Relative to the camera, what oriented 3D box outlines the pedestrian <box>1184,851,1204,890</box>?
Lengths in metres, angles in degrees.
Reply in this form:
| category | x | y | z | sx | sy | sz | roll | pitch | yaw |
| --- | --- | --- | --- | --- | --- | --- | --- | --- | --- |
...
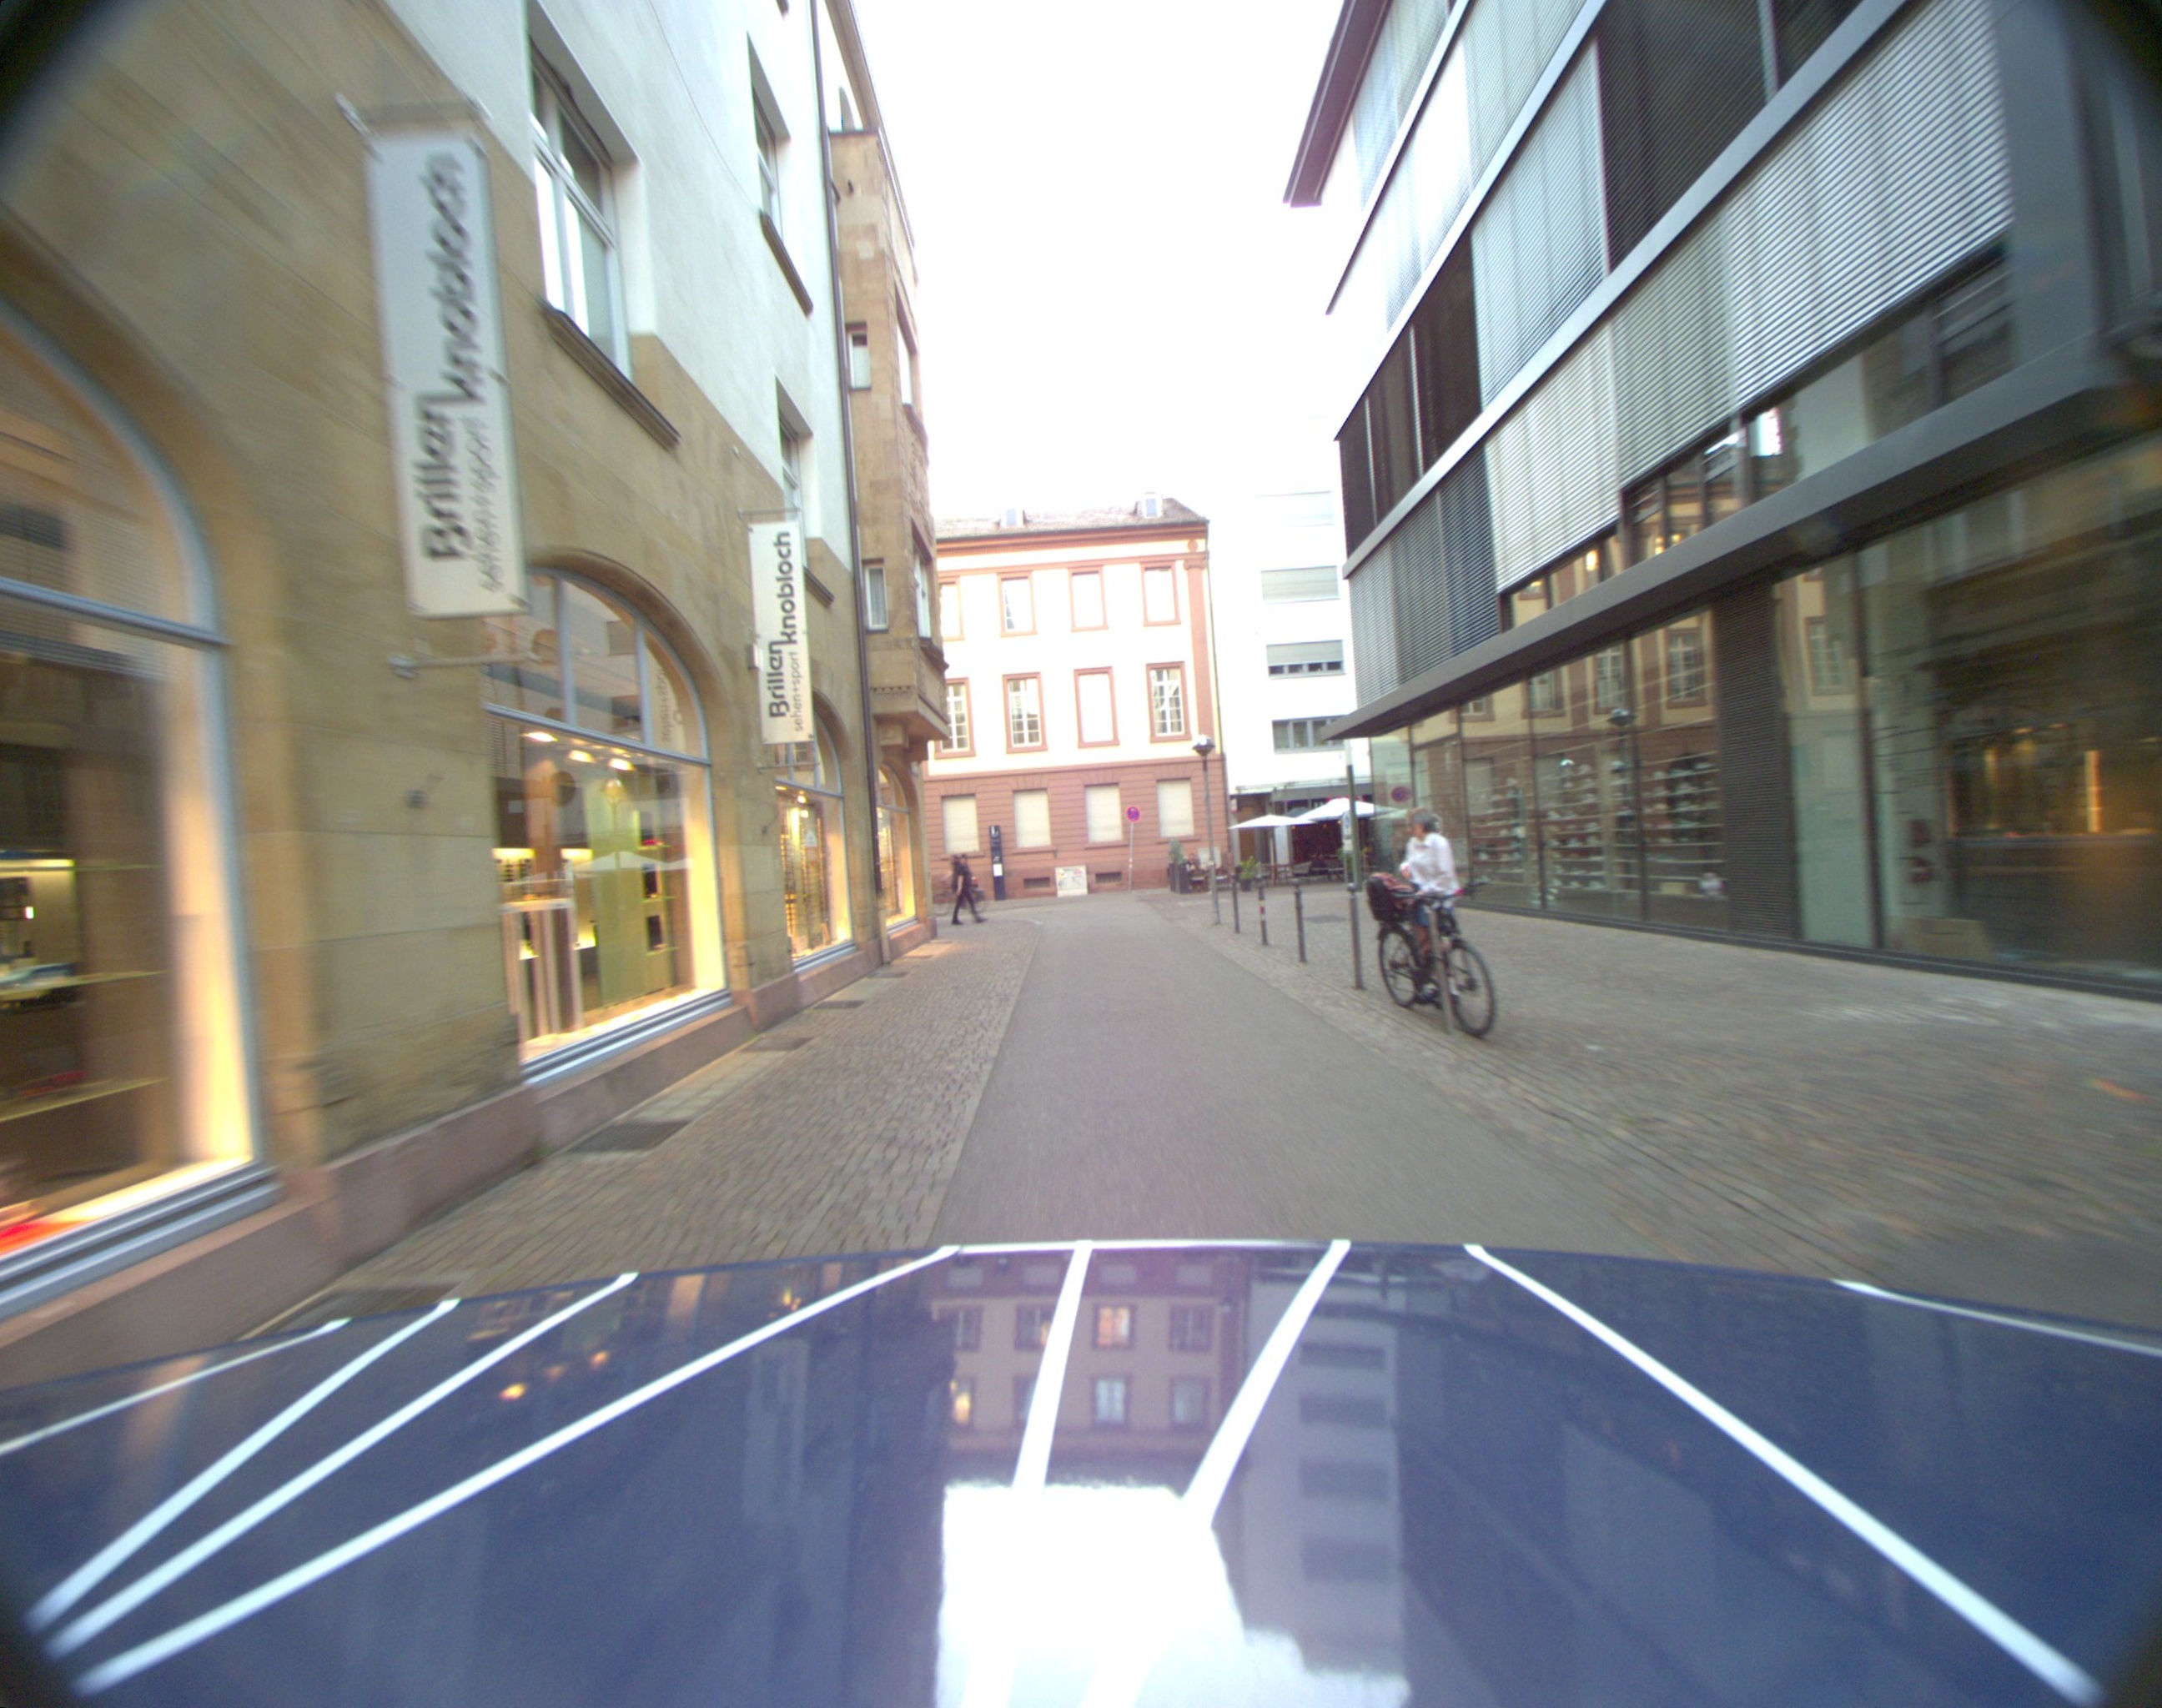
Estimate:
| category | x | y | z | sx | sy | sz | roll | pitch | yaw |
| --- | --- | --- | --- | --- | --- | --- | --- | --- | --- |
| pedestrian | 3.998 | 0.573 | 26.866 | 0.549 | 1.341 | 0.489 | -4 | 1 | 2 |

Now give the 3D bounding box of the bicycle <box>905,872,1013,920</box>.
| category | x | y | z | sx | sy | sz | roll | pitch | yaw |
| --- | --- | --- | --- | --- | --- | --- | --- | --- | --- |
| bicycle | -3.786 | 1.288 | 23.803 | 3.155 | 1.252 | 0.923 | -4 | 0 | -1 |

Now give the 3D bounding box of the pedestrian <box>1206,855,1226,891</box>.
| category | x | y | z | sx | sy | sz | roll | pitch | yaw |
| --- | --- | --- | --- | --- | --- | --- | --- | --- | --- |
| pedestrian | 4.734 | 0.668 | 26.667 | 0.549 | 1.204 | 0.524 | -4 | 1 | 2 |

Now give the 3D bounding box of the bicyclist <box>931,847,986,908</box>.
| category | x | y | z | sx | sy | sz | roll | pitch | yaw |
| --- | --- | --- | --- | --- | --- | --- | --- | --- | --- |
| bicyclist | -3.812 | 0.725 | 23.793 | 1.469 | 1.807 | 0.923 | -4 | 0 | -1 |

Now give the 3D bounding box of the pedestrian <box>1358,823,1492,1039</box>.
| category | x | y | z | sx | sy | sz | roll | pitch | yaw |
| --- | --- | --- | --- | --- | --- | --- | --- | --- | --- |
| pedestrian | 2.985 | 0.634 | 6.604 | 0.771 | 1.708 | 0.590 | -6 | 1 | -31 |

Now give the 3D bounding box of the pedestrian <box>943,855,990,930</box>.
| category | x | y | z | sx | sy | sz | roll | pitch | yaw |
| --- | --- | --- | --- | --- | --- | --- | --- | --- | --- |
| pedestrian | -2.875 | 0.945 | 19.048 | 0.969 | 1.775 | 0.739 | -4 | 1 | -14 |

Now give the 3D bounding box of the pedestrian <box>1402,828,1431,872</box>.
| category | x | y | z | sx | sy | sz | roll | pitch | yaw |
| --- | --- | --- | --- | --- | --- | --- | --- | --- | --- |
| pedestrian | 12.867 | -0.145 | 29.140 | 0.671 | 1.655 | 0.623 | -4 | 0 | -28 |

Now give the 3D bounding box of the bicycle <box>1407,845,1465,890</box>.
| category | x | y | z | sx | sy | sz | roll | pitch | yaw |
| --- | --- | --- | --- | --- | --- | --- | --- | --- | --- |
| bicycle | 9.651 | 0.376 | 20.749 | 0.609 | 1.143 | 1.842 | -4 | -1 | -2 |

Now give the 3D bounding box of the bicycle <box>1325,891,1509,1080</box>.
| category | x | y | z | sx | sy | sz | roll | pitch | yaw |
| --- | --- | --- | --- | --- | --- | --- | --- | --- | --- |
| bicycle | 2.599 | 0.948 | 6.142 | 0.534 | 1.147 | 1.914 | -6 | 0 | 0 |

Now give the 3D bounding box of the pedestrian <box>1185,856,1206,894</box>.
| category | x | y | z | sx | sy | sz | roll | pitch | yaw |
| --- | --- | --- | --- | --- | --- | --- | --- | --- | --- |
| pedestrian | 3.824 | 0.693 | 25.447 | 0.561 | 1.204 | 0.461 | -4 | 1 | 2 |

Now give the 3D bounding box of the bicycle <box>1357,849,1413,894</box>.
| category | x | y | z | sx | sy | sz | roll | pitch | yaw |
| --- | --- | --- | --- | --- | --- | --- | --- | --- | --- |
| bicycle | 8.126 | 0.468 | 20.375 | 0.709 | 1.106 | 1.674 | -4 | -1 | -2 |
